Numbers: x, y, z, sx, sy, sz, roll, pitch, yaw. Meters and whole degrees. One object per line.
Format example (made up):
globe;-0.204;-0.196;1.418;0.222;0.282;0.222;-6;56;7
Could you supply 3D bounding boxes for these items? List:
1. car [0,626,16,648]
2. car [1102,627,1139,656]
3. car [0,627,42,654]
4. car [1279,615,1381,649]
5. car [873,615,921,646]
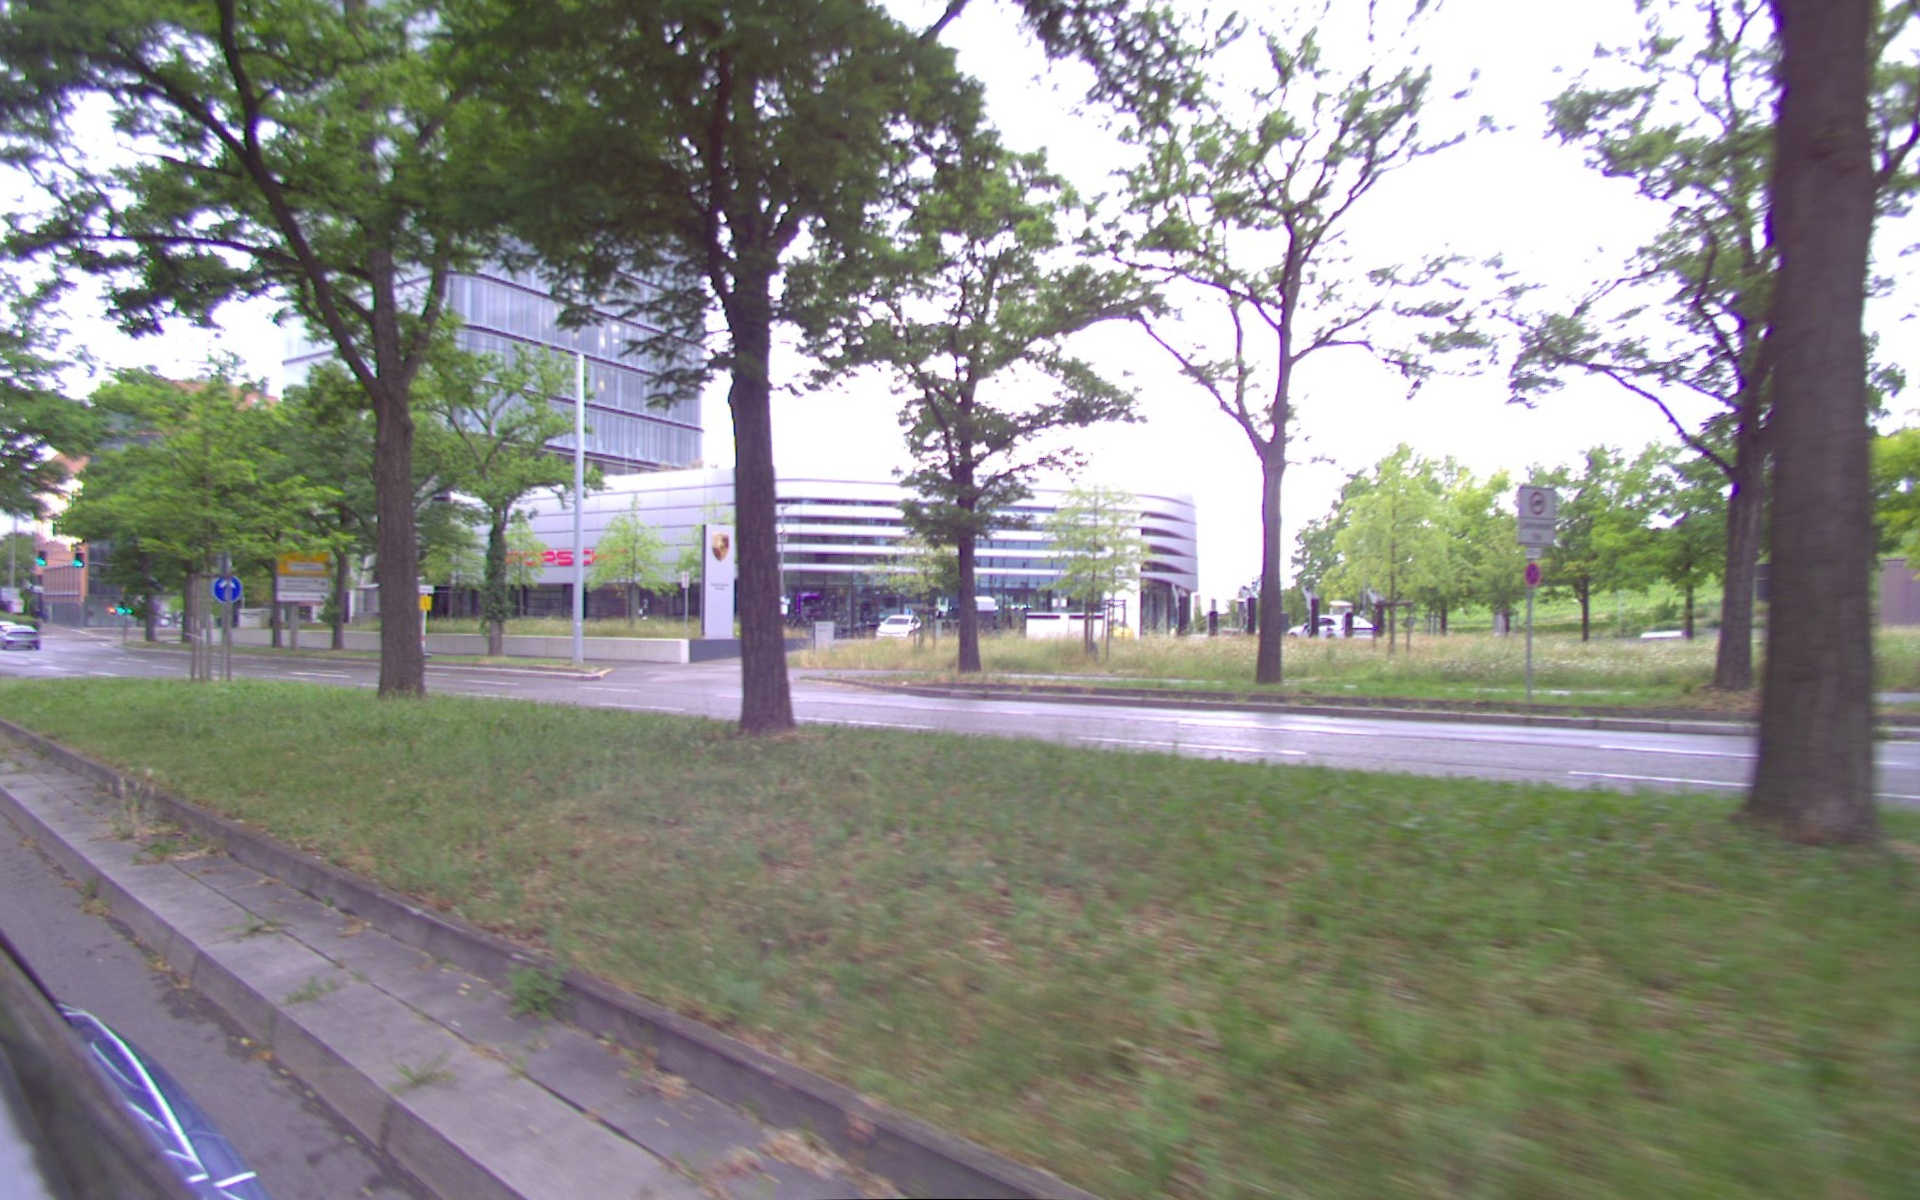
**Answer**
car;-68.986;2.644;72.236;3.995;1.464;1.761;0;1;39
car;8.876;2.243;55.667;1.605;1.333;3.981;-1;1;15
car;-57.845;2.451;61.951;3.995;1.464;1.871;0;1;39
car;15.827;1.353;43.456;1.592;1.254;4.013;-2;1;-29
car;-3.278;1.566;53.363;1.758;1.423;3.991;-1;1;8
